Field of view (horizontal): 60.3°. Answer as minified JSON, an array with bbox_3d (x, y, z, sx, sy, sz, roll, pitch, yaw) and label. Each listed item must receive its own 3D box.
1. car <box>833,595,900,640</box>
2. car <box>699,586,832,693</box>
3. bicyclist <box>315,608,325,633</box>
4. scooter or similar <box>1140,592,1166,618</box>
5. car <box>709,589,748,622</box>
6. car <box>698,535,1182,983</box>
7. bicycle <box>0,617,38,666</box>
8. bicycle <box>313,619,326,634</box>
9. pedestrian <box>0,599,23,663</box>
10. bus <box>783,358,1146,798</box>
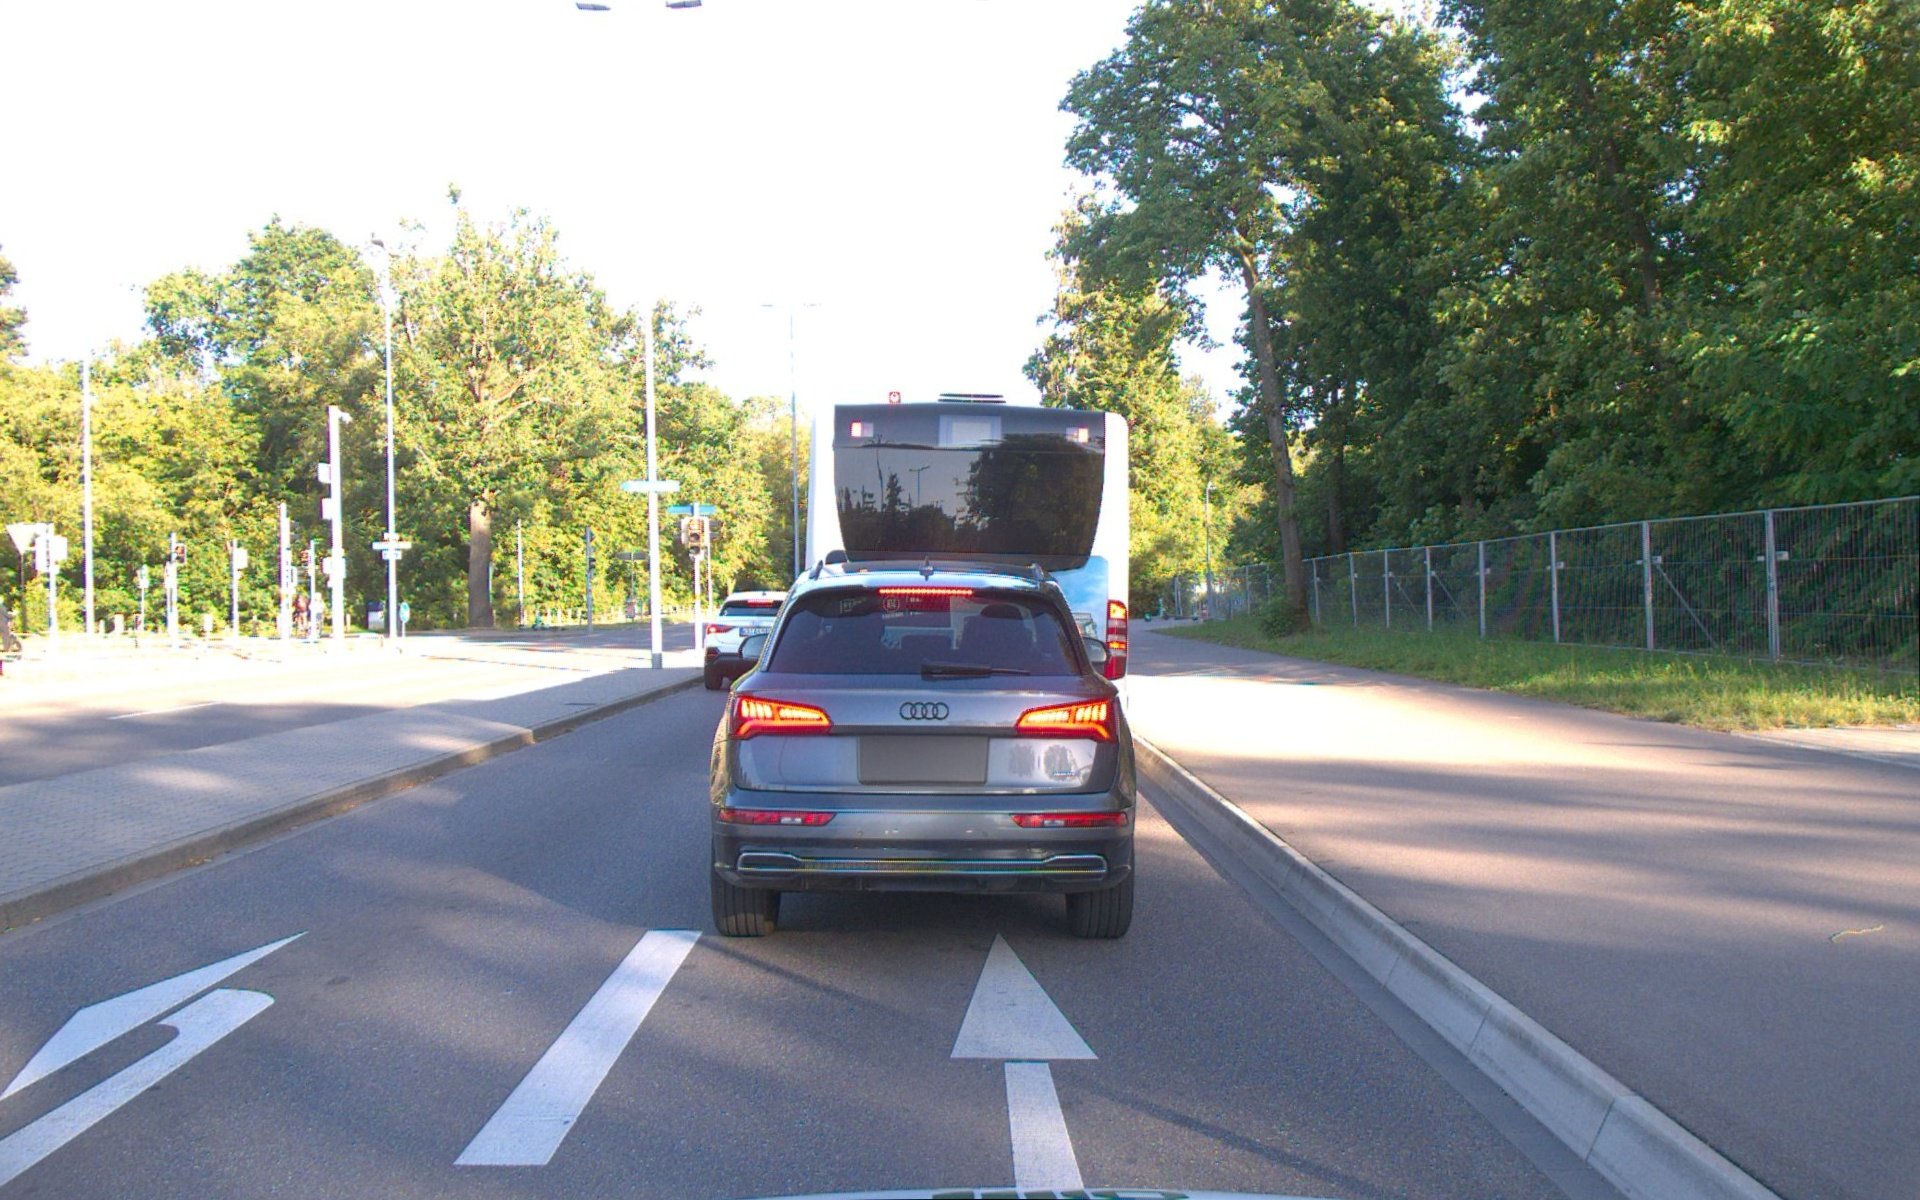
[{"bbox_3d":[-3.658,0.684,65.224,1.951,1.681,4.331,1,0,6],"label":"car"},{"bbox_3d":[-3.162,0.590,27.518,1.771,1.599,4.000,1,1,-1],"label":"car"},{"bbox_3d":[-24.687,0.787,63.798,0.268,0.979,0.240,1,-1,-6],"label":"bicyclist"},{"bbox_3d":[9.135,0.239,78.170,1.158,1.195,0.659,1,0,10],"label":"scooter or similar"},{"bbox_3d":[-12.630,0.303,90.312,1.955,1.691,3.995,-2,0,-6],"label":"car"},{"bbox_3d":[-0.104,0.586,8.340,1.830,1.693,4.000,1,1,-1],"label":"car"},{"bbox_3d":[-24.165,1.042,41.915,0.458,1.198,2.003,1,0,-1],"label":"bicycle"},{"bbox_3d":[-24.683,1.018,63.757,0.261,0.592,0.838,1,0,-6],"label":"bicycle"},{"bbox_3d":[-24.175,0.779,41.920,0.472,1.589,0.648,1,-1,-1],"label":"pedestrian"},{"bbox_3d":[0.058,-0.201,15.125,2.623,3.196,5.882,1,1,0],"label":"bus"}]
